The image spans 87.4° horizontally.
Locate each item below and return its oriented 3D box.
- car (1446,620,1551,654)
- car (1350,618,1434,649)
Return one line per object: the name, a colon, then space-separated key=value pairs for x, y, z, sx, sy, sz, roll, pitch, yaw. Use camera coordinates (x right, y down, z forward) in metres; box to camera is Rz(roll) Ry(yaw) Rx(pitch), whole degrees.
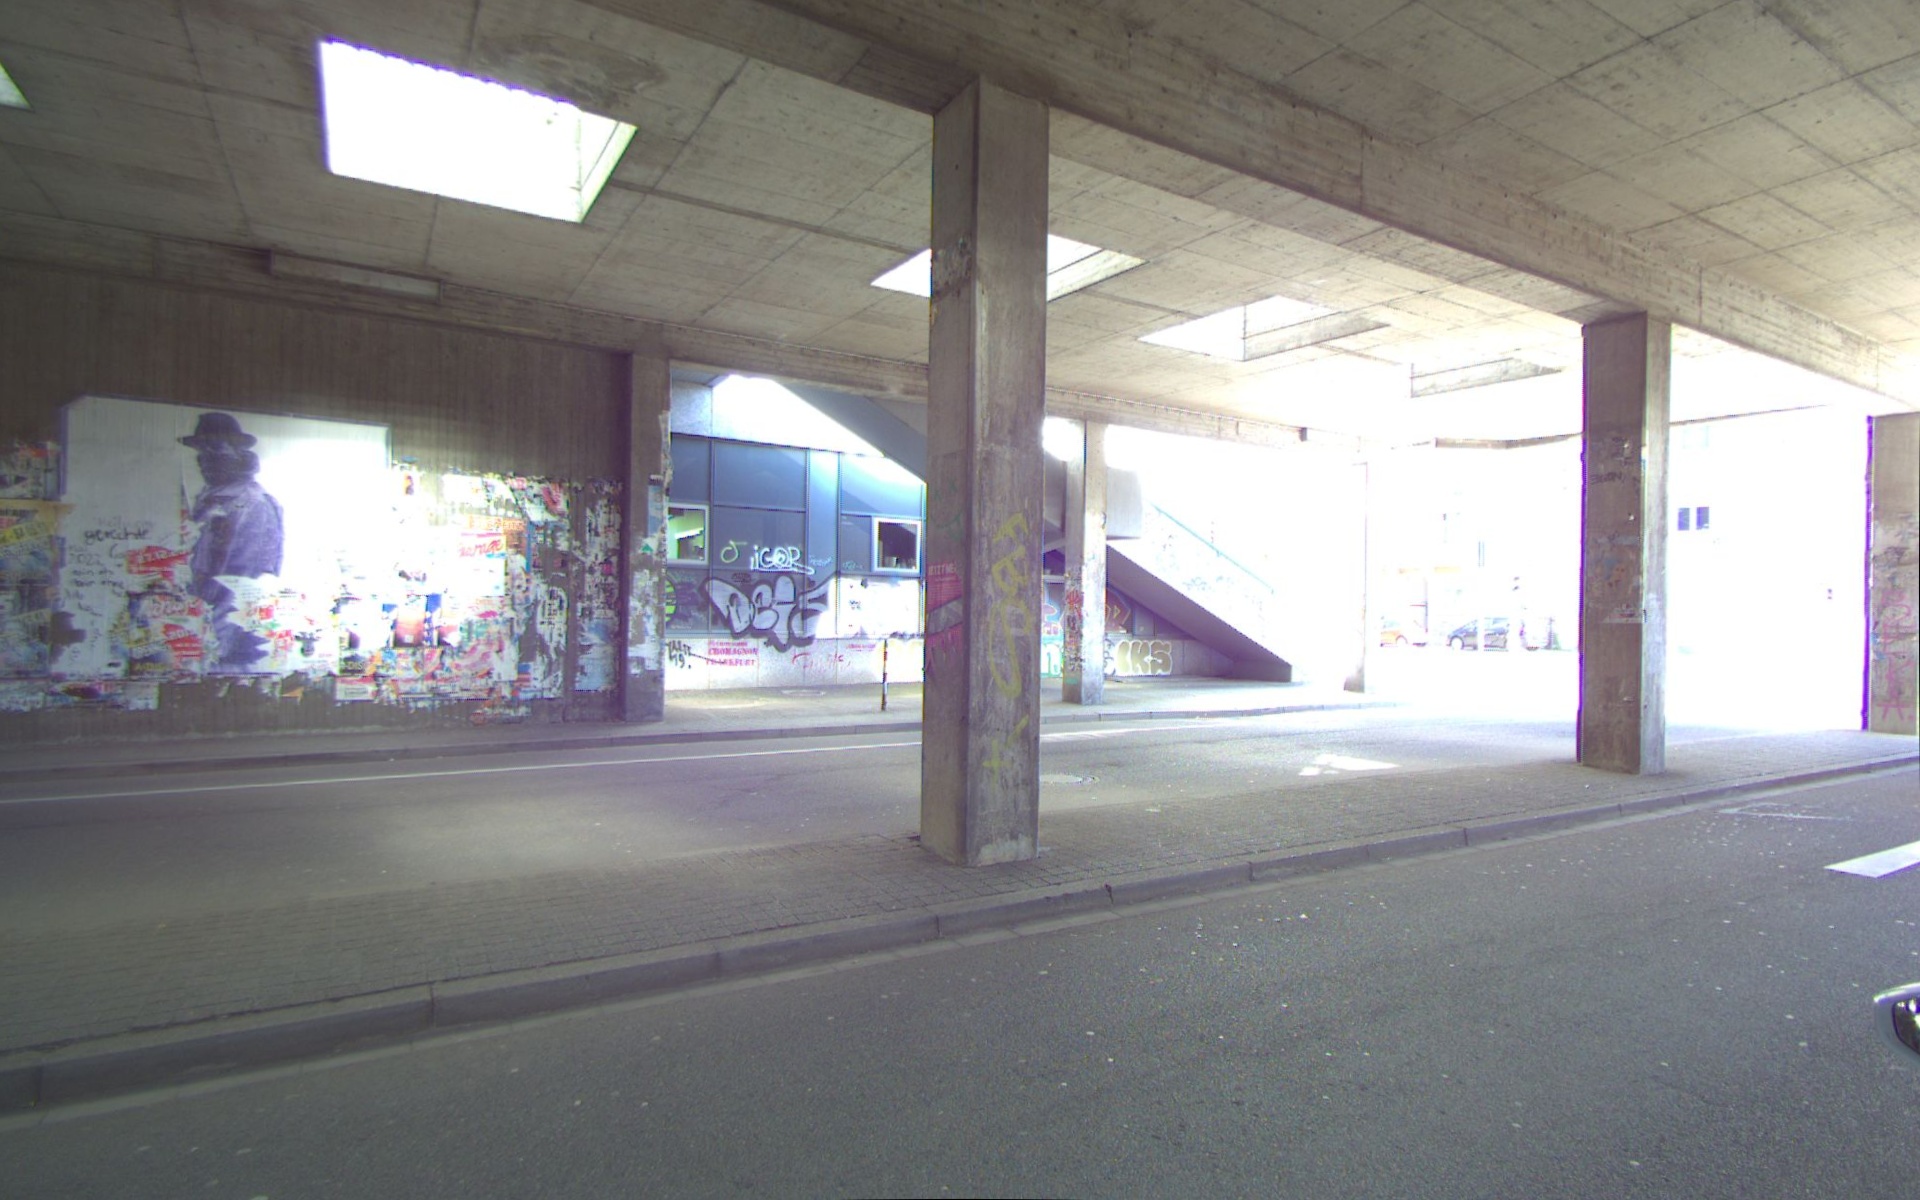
car: x=25.478 y=1.733 z=47.658 sx=1.718 sy=1.495 sz=4.089 roll=2 pitch=-1 yaw=-31
car: x=22.566 y=1.756 z=52.613 sx=1.730 sy=1.495 sz=3.741 roll=2 pitch=-1 yaw=-31
